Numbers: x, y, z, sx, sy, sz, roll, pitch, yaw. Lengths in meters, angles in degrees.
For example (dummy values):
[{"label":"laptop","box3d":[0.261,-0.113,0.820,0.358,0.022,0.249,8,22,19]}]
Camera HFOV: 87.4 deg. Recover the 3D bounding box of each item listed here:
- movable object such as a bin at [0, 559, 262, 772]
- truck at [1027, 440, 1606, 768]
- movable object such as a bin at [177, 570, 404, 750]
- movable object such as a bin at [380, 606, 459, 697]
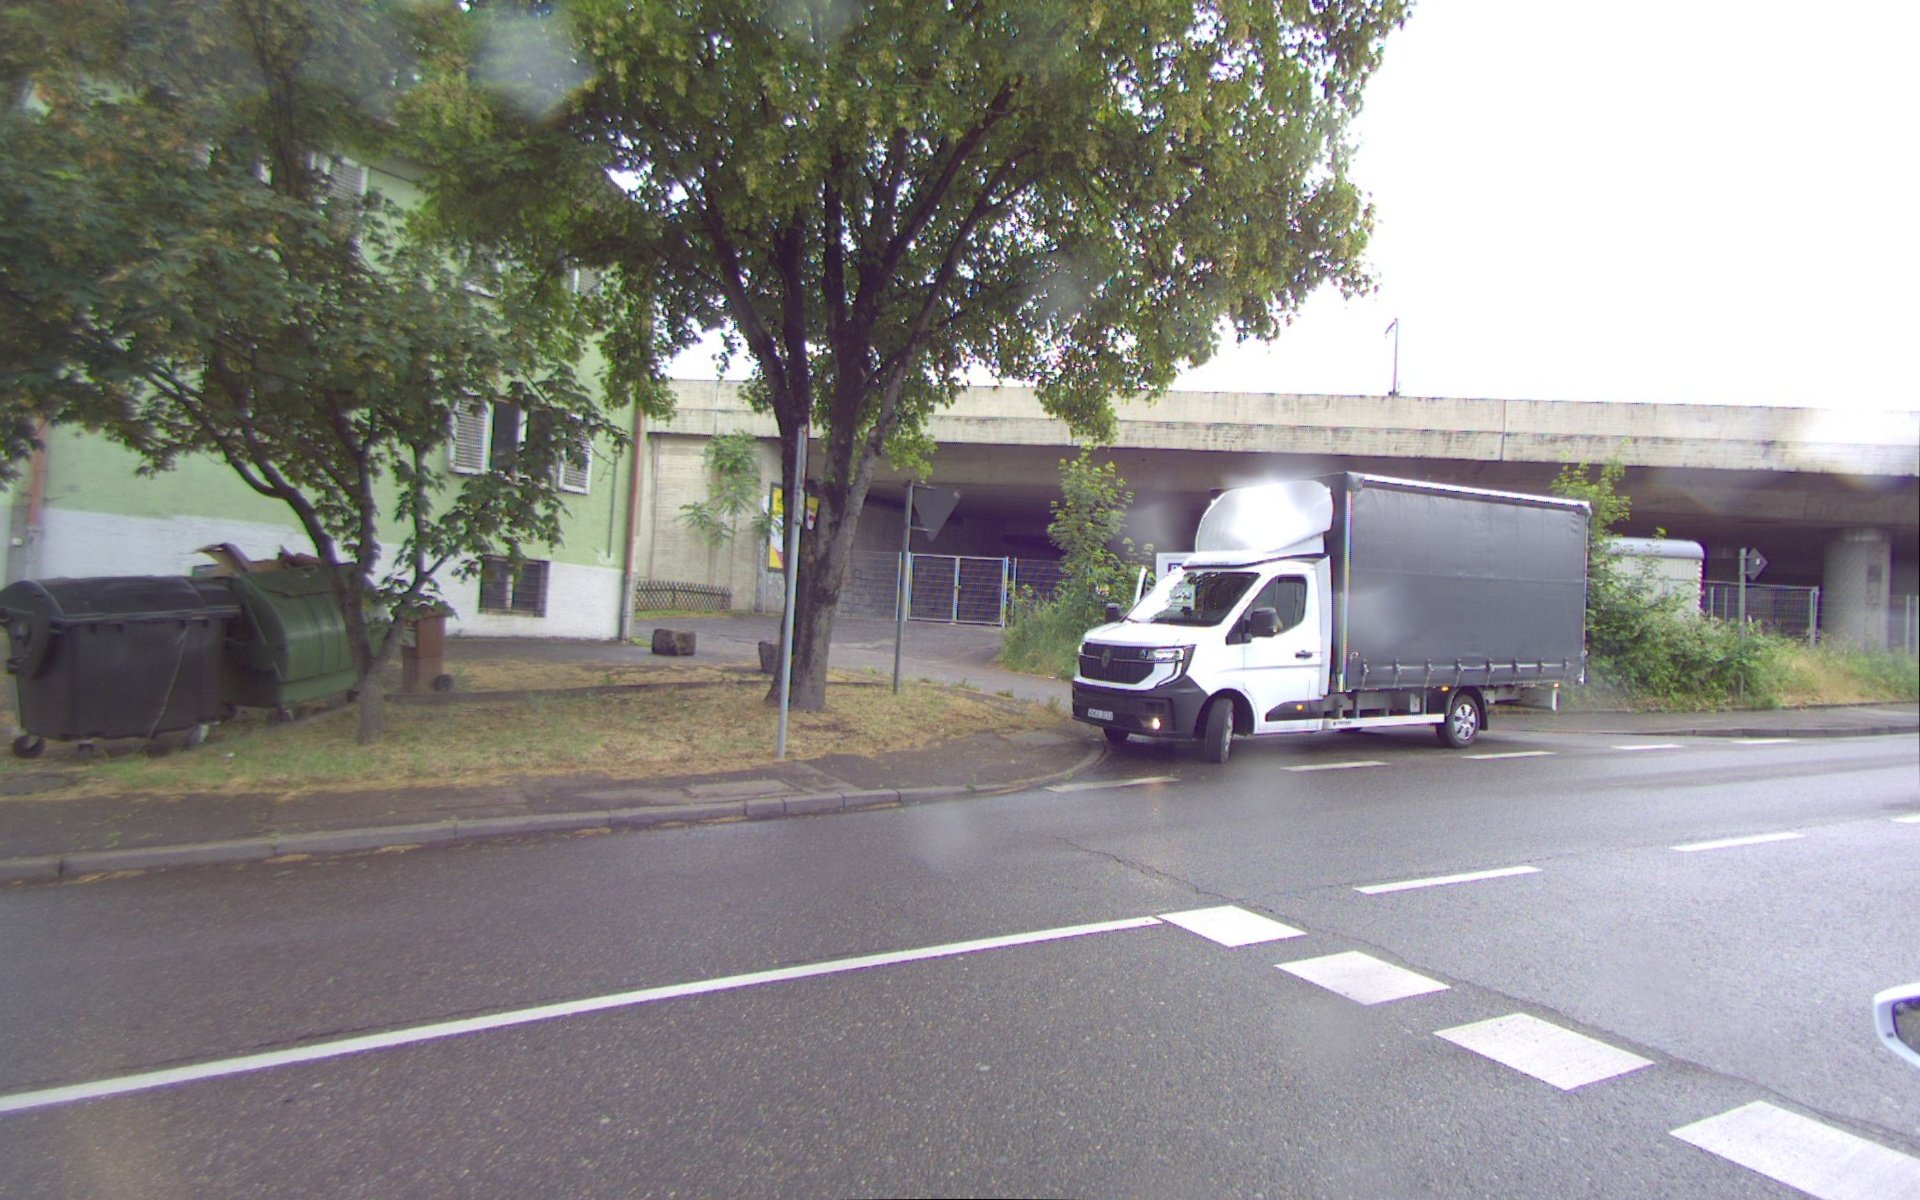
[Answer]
[{"label":"movable object such as a bin","box3d":[-6.935,0.456,8.285,1.268,1.457,1.463,5,5,13]},{"label":"truck","box3d":[4.835,0.189,13.050,7.680,3.279,2.599,2,-1,-29]},{"label":"movable object such as a bin","box3d":[-6.364,0.509,9.647,1.078,1.457,1.463,4,5,13]},{"label":"movable object such as a bin","box3d":[-5.984,0.570,11.128,0.715,0.970,0.554,3,-1,-30]}]
